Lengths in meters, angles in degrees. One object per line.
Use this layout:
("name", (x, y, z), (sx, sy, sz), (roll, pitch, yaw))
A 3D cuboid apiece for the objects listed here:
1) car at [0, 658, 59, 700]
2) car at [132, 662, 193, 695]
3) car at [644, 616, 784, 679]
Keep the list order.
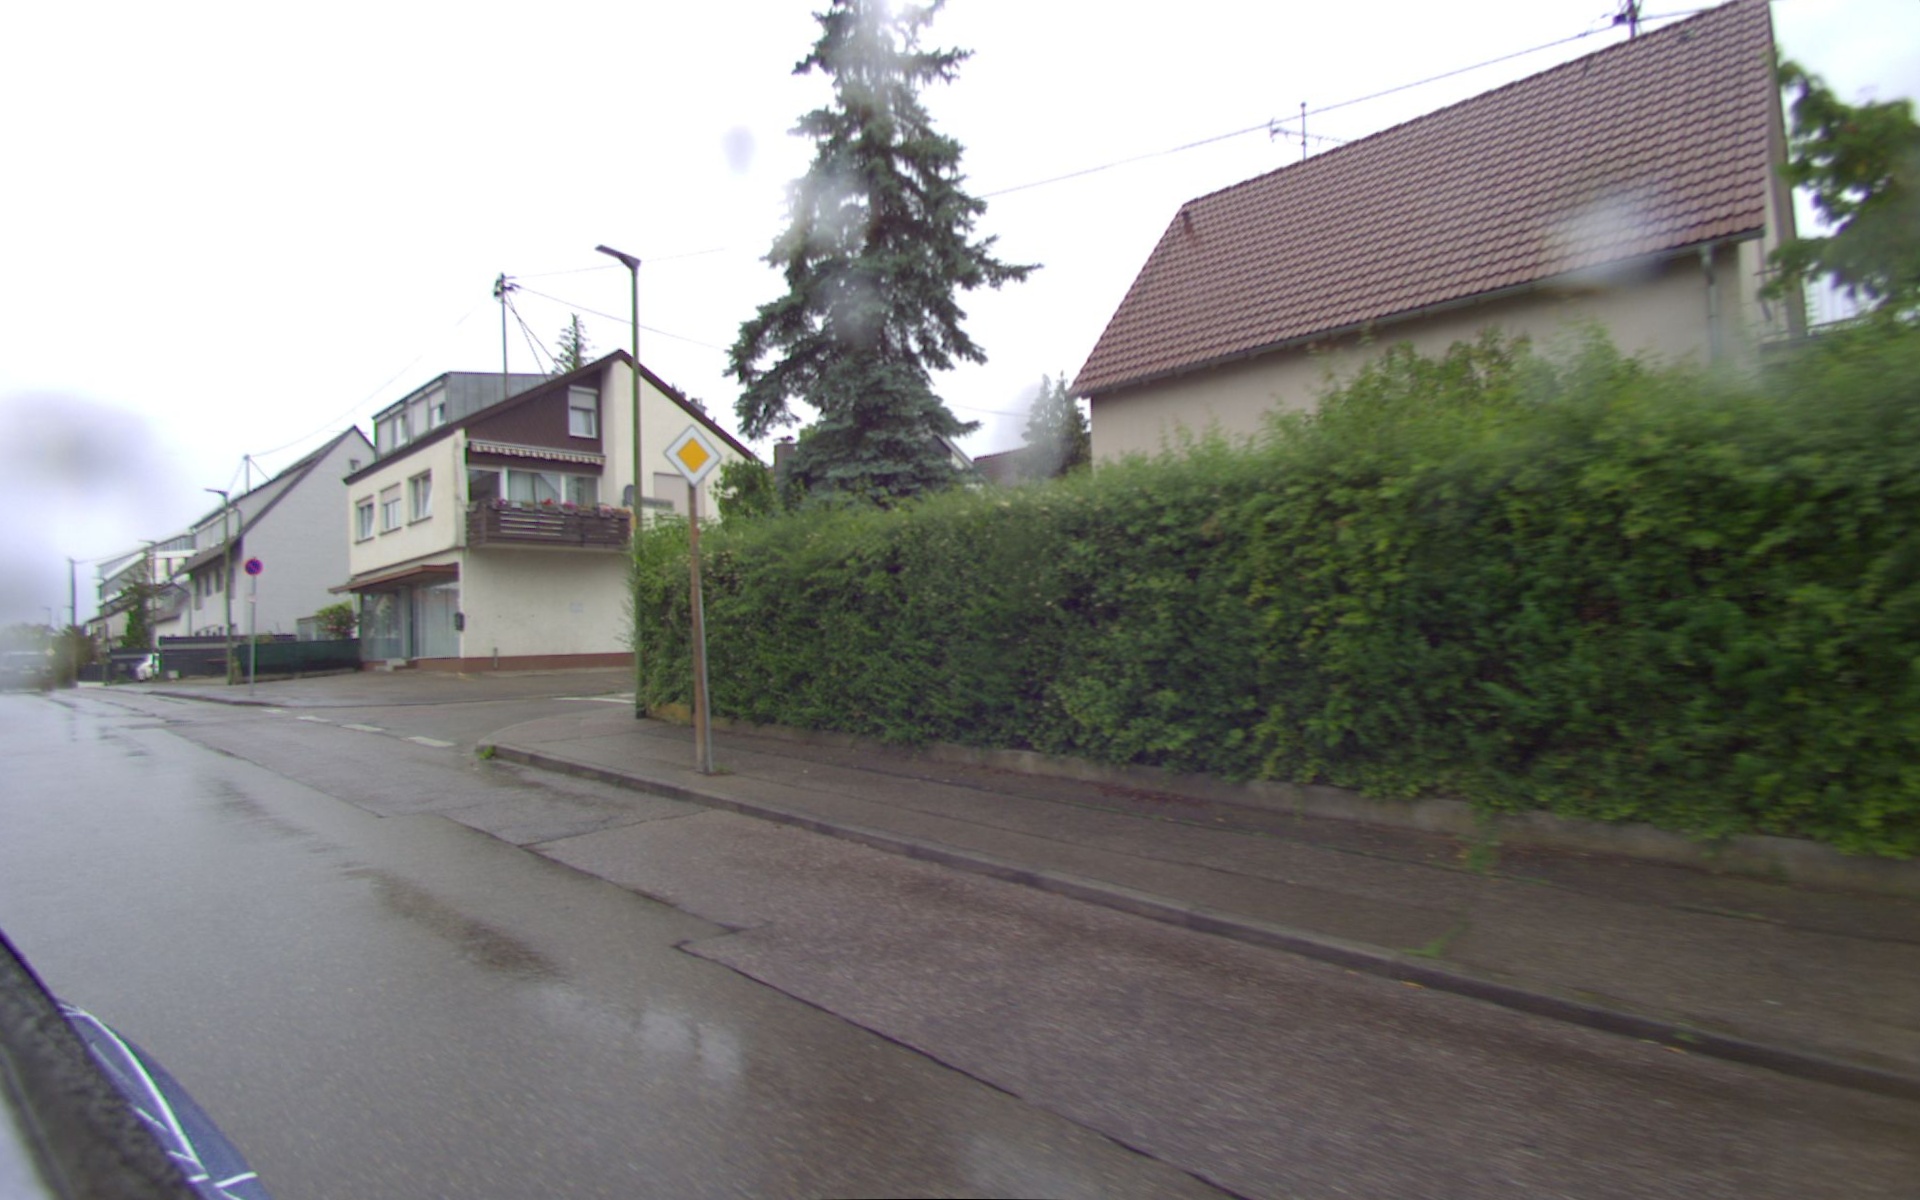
("car", (-37.547, 3.121, 40.458), (4.000, 1.544, 1.872), (-2, -3, 43))
("car", (-41.110, 4.017, 52.148), (4.000, 1.544, 1.872), (-2, -3, 43))
("car", (-7.077, 1.345, 28.931), (4.200, 1.669, 1.971), (-2, -3, 44))
